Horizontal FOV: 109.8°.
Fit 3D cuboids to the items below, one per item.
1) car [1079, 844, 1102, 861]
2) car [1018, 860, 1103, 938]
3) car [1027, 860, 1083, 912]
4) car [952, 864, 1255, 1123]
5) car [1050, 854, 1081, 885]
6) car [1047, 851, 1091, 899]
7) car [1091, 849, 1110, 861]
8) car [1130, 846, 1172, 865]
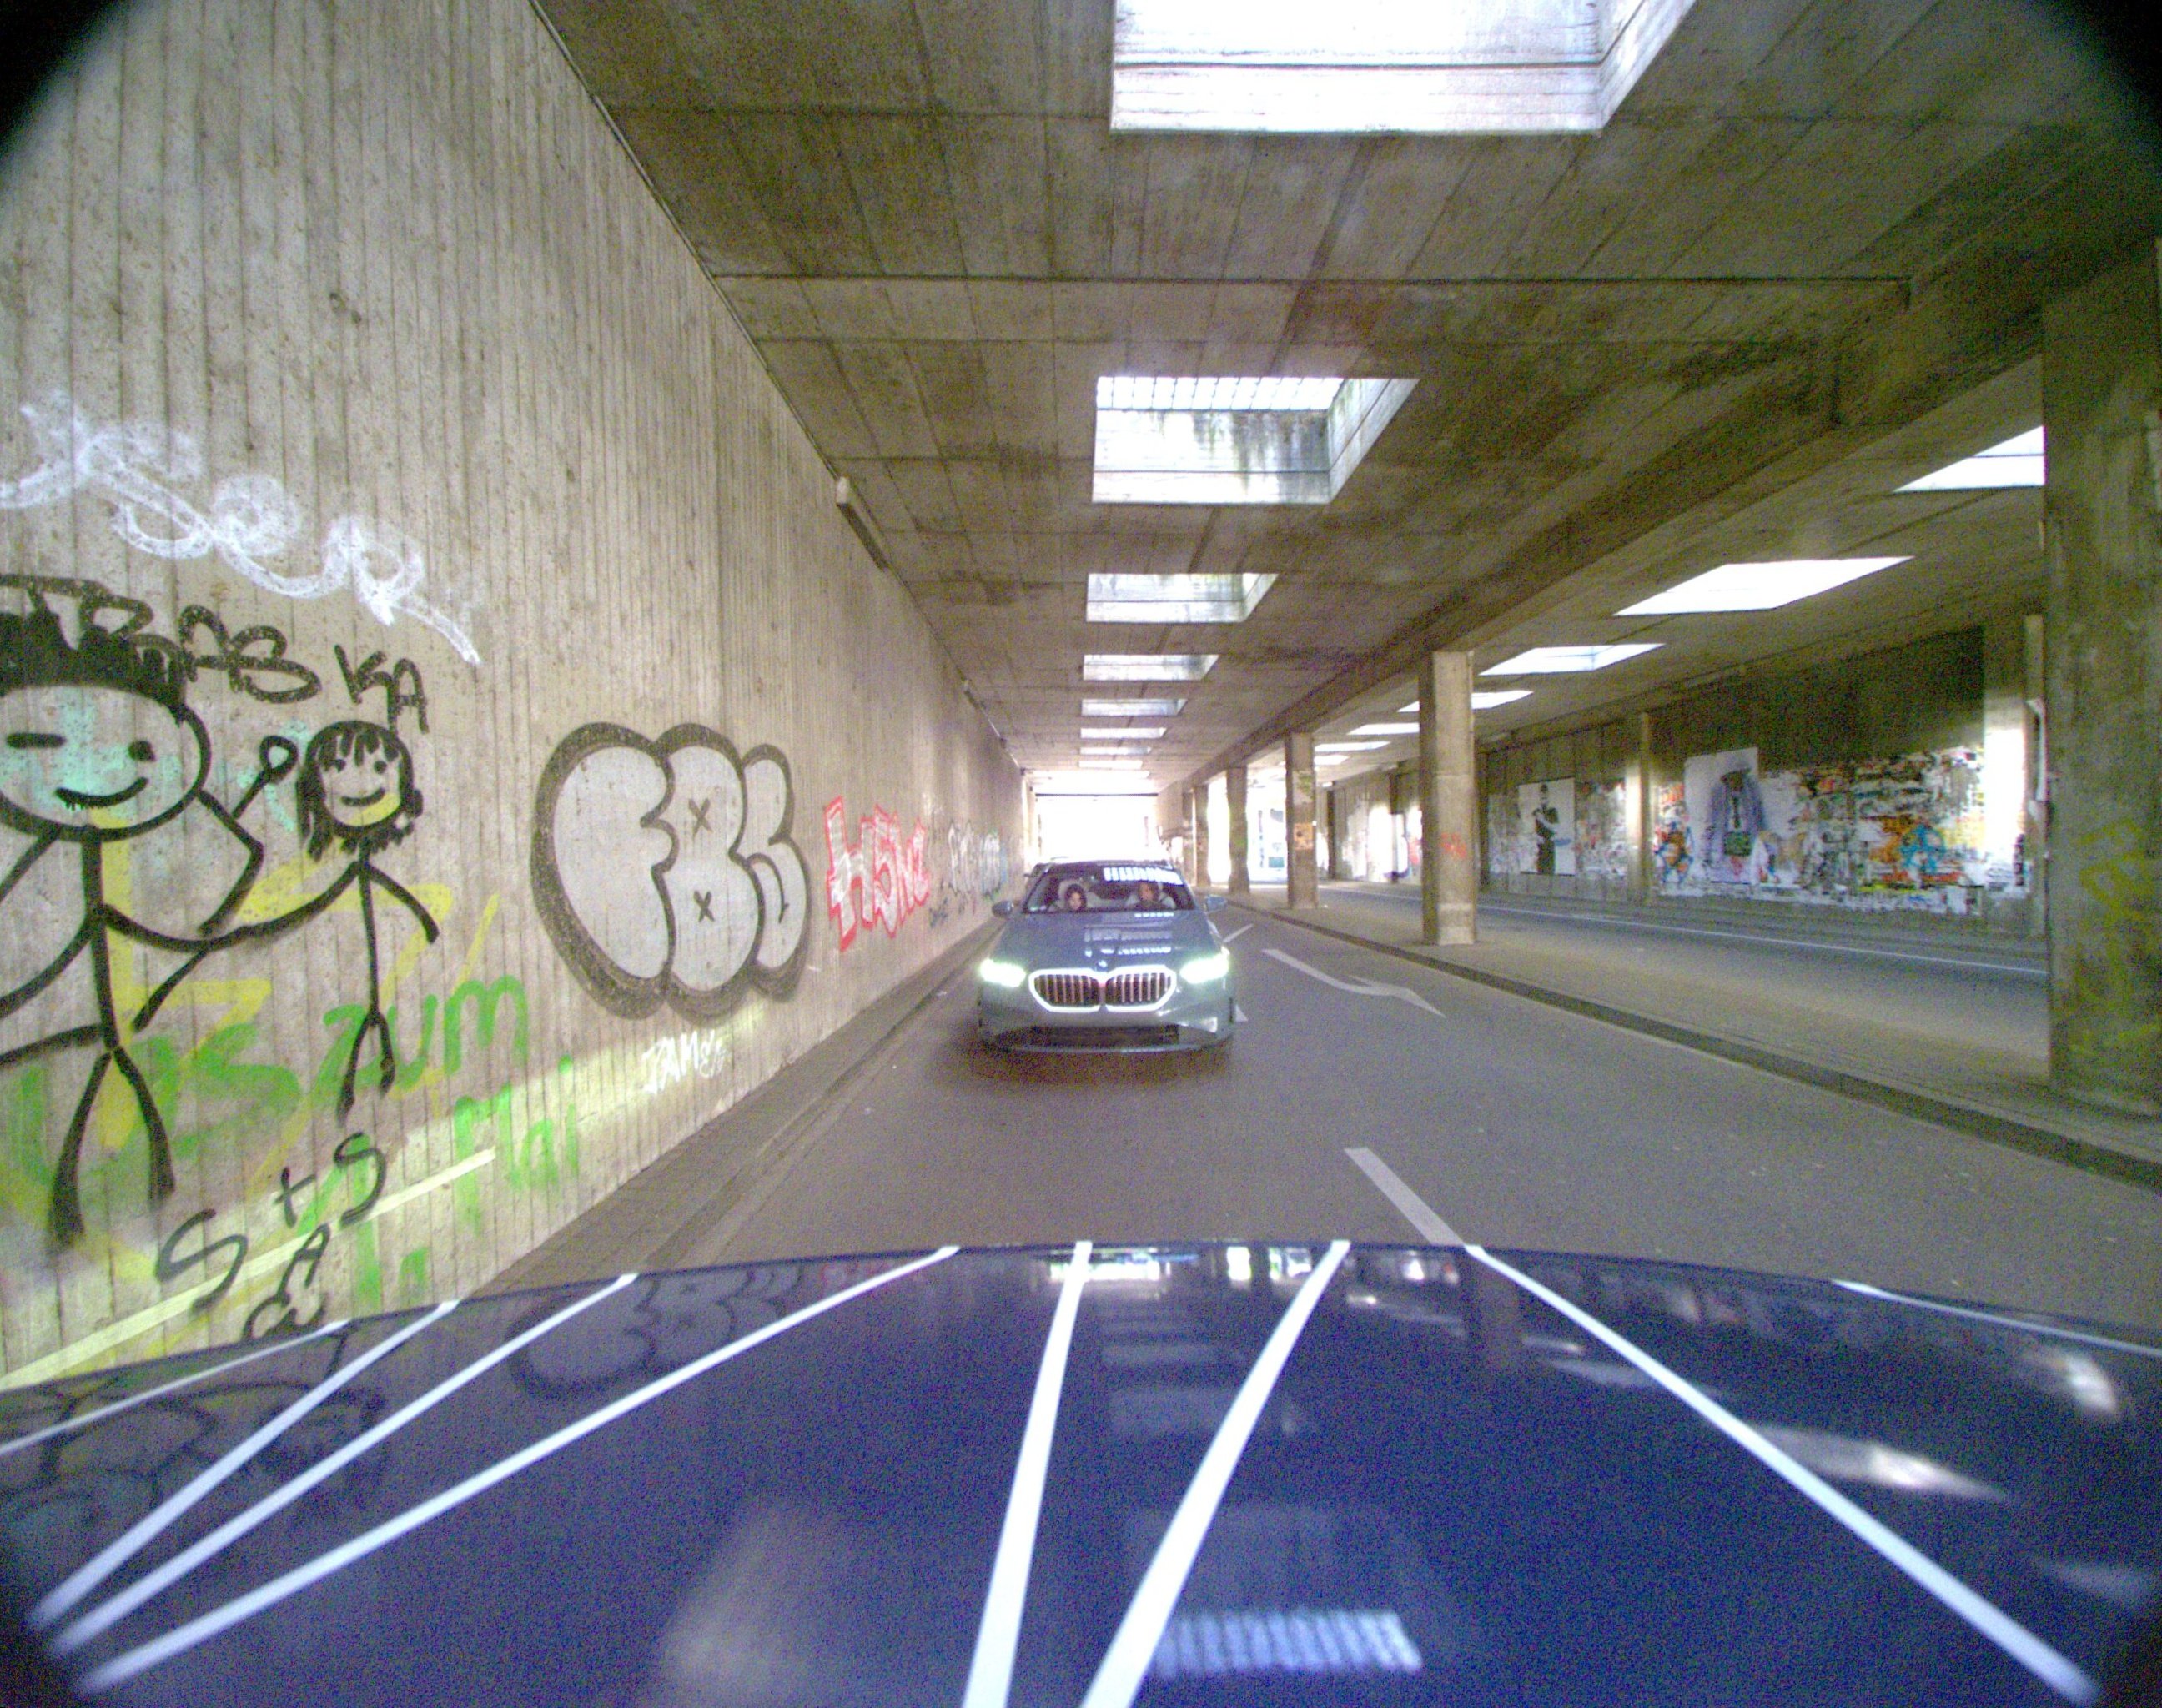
[{"bbox_3d":[1.284,-0.189,103.670,2.161,2.150,4.785,-2,0,-12],"label":"car"},{"bbox_3d":[-0.424,0.922,17.298,1.679,1.516,3.969,-2,0,0],"label":"car"},{"bbox_3d":[-0.760,0.950,23.924,1.592,1.432,3.806,-2,0,0],"label":"car"},{"bbox_3d":[0.128,0.907,7.289,1.861,1.516,5.042,-2,0,0],"label":"car"},{"bbox_3d":[-0.805,0.807,41.258,1.592,1.562,3.694,-2,0,0],"label":"car"},{"bbox_3d":[-0.461,0.773,29.931,1.592,1.711,3.694,-2,0,0],"label":"car"},{"bbox_3d":[2.481,0.142,97.978,1.741,1.519,3.786,-2,0,-9],"label":"car"},{"bbox_3d":[6.735,0.168,73.133,3.873,1.597,1.728,-3,1,1],"label":"car"}]
